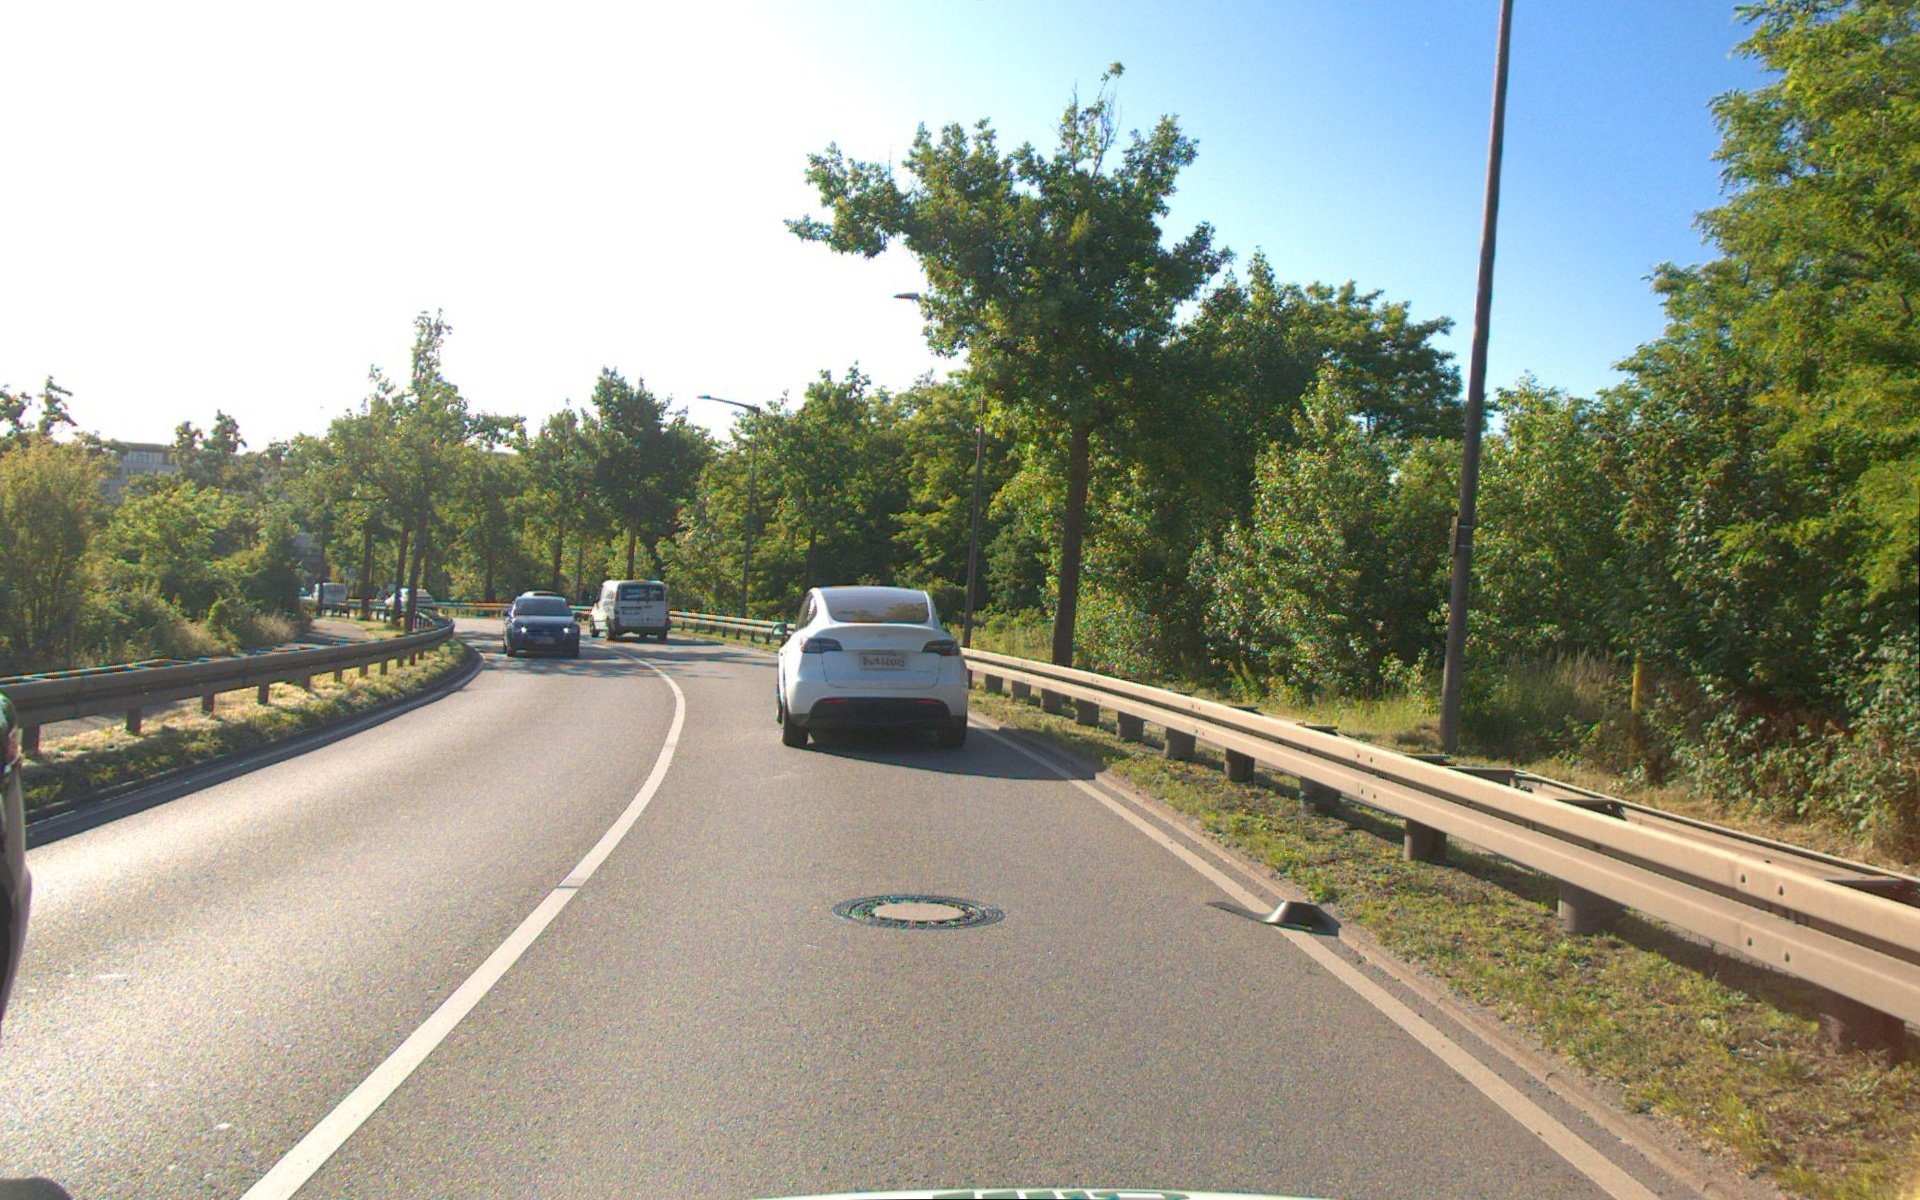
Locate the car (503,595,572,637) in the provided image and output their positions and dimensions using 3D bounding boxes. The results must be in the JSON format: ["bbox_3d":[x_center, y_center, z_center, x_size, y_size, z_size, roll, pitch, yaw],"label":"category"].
[{"bbox_3d":[-17.562,0.638,68.583,1.839,1.612,3.876,1,0,-29],"label":"car"}]

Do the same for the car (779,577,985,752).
[{"bbox_3d":[-0.964,0.623,17.967,1.947,1.666,4.057,1,0,-7],"label":"car"}]

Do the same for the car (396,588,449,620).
[{"bbox_3d":[-28.700,0.196,88.246,1.840,1.612,3.874,1,0,-31],"label":"car"}]

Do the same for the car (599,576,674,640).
[{"bbox_3d":[-10.547,0.227,53.704,1.973,1.974,4.448,1,0,-16],"label":"car"}]

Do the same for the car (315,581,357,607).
[{"bbox_3d":[-40.278,-0.414,106.646,1.818,1.583,3.851,1,0,-32],"label":"car"}]

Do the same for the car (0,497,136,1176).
[{"bbox_3d":[-3.184,0.571,2.467,1.860,1.671,4.460,1,0,-4],"label":"car"}]

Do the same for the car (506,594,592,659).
[{"bbox_3d":[-10.192,0.626,40.876,1.764,1.456,3.807,1,0,-18],"label":"car"}]
